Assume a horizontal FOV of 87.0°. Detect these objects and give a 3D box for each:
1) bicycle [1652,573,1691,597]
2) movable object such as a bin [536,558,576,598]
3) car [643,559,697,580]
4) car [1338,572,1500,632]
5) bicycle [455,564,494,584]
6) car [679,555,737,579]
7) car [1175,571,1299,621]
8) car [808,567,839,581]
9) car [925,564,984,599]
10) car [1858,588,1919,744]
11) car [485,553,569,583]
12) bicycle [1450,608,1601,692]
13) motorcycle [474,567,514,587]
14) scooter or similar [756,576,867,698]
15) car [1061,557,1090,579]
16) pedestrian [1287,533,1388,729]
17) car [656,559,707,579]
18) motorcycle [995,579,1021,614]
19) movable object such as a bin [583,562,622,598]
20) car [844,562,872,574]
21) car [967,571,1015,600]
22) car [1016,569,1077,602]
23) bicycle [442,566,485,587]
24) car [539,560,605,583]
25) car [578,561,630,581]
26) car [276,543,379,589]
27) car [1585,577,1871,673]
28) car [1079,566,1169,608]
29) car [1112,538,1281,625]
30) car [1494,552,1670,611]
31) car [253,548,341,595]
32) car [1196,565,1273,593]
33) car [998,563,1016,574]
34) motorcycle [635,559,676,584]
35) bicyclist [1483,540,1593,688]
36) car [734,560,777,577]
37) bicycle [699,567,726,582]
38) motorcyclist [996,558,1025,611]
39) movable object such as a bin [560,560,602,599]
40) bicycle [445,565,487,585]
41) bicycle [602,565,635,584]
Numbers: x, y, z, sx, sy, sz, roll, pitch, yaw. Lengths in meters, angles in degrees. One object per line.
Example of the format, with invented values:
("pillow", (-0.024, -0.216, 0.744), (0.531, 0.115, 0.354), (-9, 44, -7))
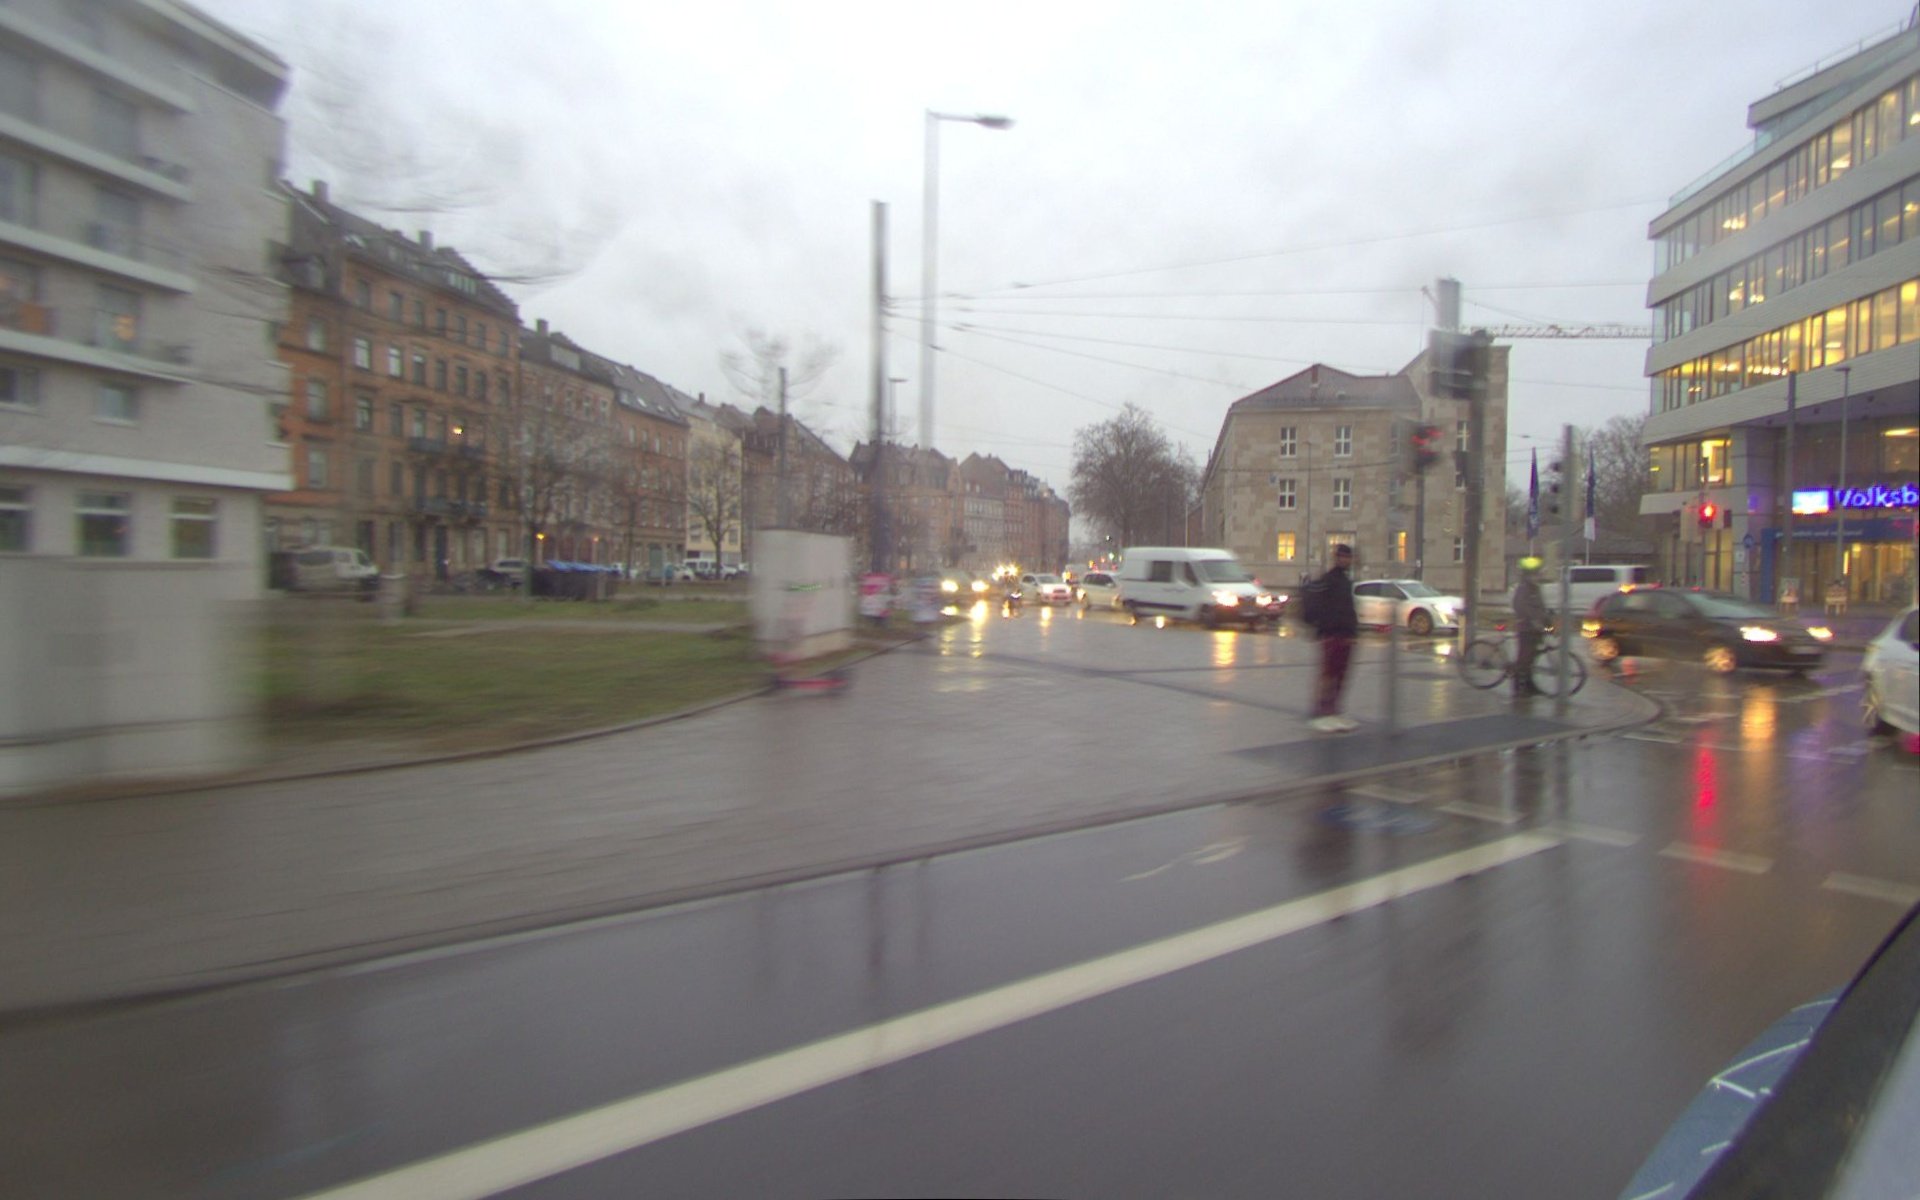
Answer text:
("bicycle", (35.899, -0.756, 51.058), (1.475, 1.141, 0.526), (1, 2, 14))
("movable object such as a bin", (-16.290, -0.898, 40.806), (1.039, 1.595, 1.134), (1, 2, 17))
("car", (-20.762, -2.181, 72.440), (3.610, 1.417, 1.525), (0, 2, -18))
("car", (12.839, -0.014, 28.550), (1.728, 1.481, 3.924), (-2, 3, -28))
("bicycle", (-25.251, -1.367, 52.652), (1.758, 0.943, 0.447), (2, 1, -12))
("car", (-19.500, -2.536, 78.240), (4.254, 1.790, 1.785), (0, 2, -19))
("car", (9.577, -0.199, 35.373), (1.789, 1.589, 4.371), (0, 2, -24))
("car", (-14.240, -2.700, 105.567), (3.121, 1.446, 1.431), (0, 2, -10))
("car", (-0.328, -0.949, 49.706), (1.863, 1.619, 4.016), (0, 2, -17))
("car", (9.557, 0.622, 8.823), (1.774, 1.396, 4.178), (-1, 1, 30))
("car", (-23.480, -1.718, 55.050), (4.069, 1.589, 1.746), (0, 2, -19))
("bicycle", (7.674, 0.639, 13.852), (0.643, 0.985, 1.871), (0, 2, -17))
("motorcycle", (-23.612, -1.187, 51.304), (1.757, 0.943, 0.514), (2, 1, -18))
("scooter or similar", (-1.570, 0.359, 10.826), (0.332, 1.221, 1.291), (2, 2, 39))
("car", (9.856, -2.764, 86.856), (1.869, 1.894, 4.965), (0, 2, 0))
("pedestrian", (3.780, 0.292, 10.179), (0.761, 1.901, 0.635), (1, 1, 2))
("car", (-20.689, -2.309, 75.179), (3.610, 1.454, 1.525), (0, 2, -18))
("motorcycle", (1.725, -0.145, 36.506), (0.474, 1.198, 2.414), (0, 2, -8))
("movable object such as a bin", (-14.796, -0.844, 41.894), (1.039, 1.449, 1.219), (1, 2, 17))
("car", (-11.811, -3.716, 117.231), (3.121, 1.431, 1.384), (0, 2, -8))
("car", (1.661, -0.826, 55.144), (1.839, 1.493, 4.178), (0, 2, -9))
("car", (4.028, -0.714, 47.723), (1.655, 1.448, 3.355), (-1, 2, -19))
("bicycle", (-24.117, -1.145, 49.176), (1.758, 0.943, 0.447), (2, 1, -12))
("car", (-22.956, -1.704, 60.058), (3.611, 1.322, 1.672), (0, 2, -19))
("car", (-23.674, -1.943, 67.473), (3.231, 1.322, 1.525), (0, 2, -18))
("car", (-32.583, -1.760, 52.330), (1.967, 2.216, 4.650), (1, 2, 9))
("car", (13.303, 0.348, 17.858), (1.688, 1.405, 3.830), (-1, 2, -12))
("car", (6.668, -0.578, 41.584), (1.642, 1.619, 4.232), (0, 2, -24))
("car", (7.372, -0.668, 32.295), (2.197, 2.493, 5.681), (-1, 3, -25))
("car", (23.667, -0.759, 38.814), (1.913, 2.084, 5.674), (0, 2, -23))
("car", (-29.029, -1.291, 44.283), (4.575, 1.966, 1.916), (2, 2, 38))
("car", (15.550, -1.244, 57.599), (1.828, 1.504, 4.350), (0, 2, -26))
("car", (6.173, -4.131, 133.267), (1.726, 1.387, 3.601), (1, 2, 13))
("motorcycle", (-19.045, -1.792, 63.311), (2.311, 1.362, 0.886), (3, 2, -4))
("bicyclist", (7.753, 0.166, 13.614), (0.776, 1.914, 0.991), (0, 1, -17))
("car", (-17.579, -2.713, 86.869), (3.538, 1.387, 1.621), (0, 2, -14))
("bicycle", (-16.647, -1.696, 68.056), (1.767, 0.943, 0.444), (3, 1, 10))
("motorcyclist", (1.818, -0.563, 36.354), (0.868, 1.905, 0.923), (0, 1, -6))
("movable object such as a bin", (-15.118, -0.838, 40.402), (1.039, 1.529, 1.246), (1, 2, 17))
("bicycle", (-24.246, -1.223, 49.700), (1.758, 0.943, 0.447), (2, 1, -12))
("bicycle", (-20.071, -1.484, 59.529), (0.533, 1.031, 1.887), (3, 2, 31))
